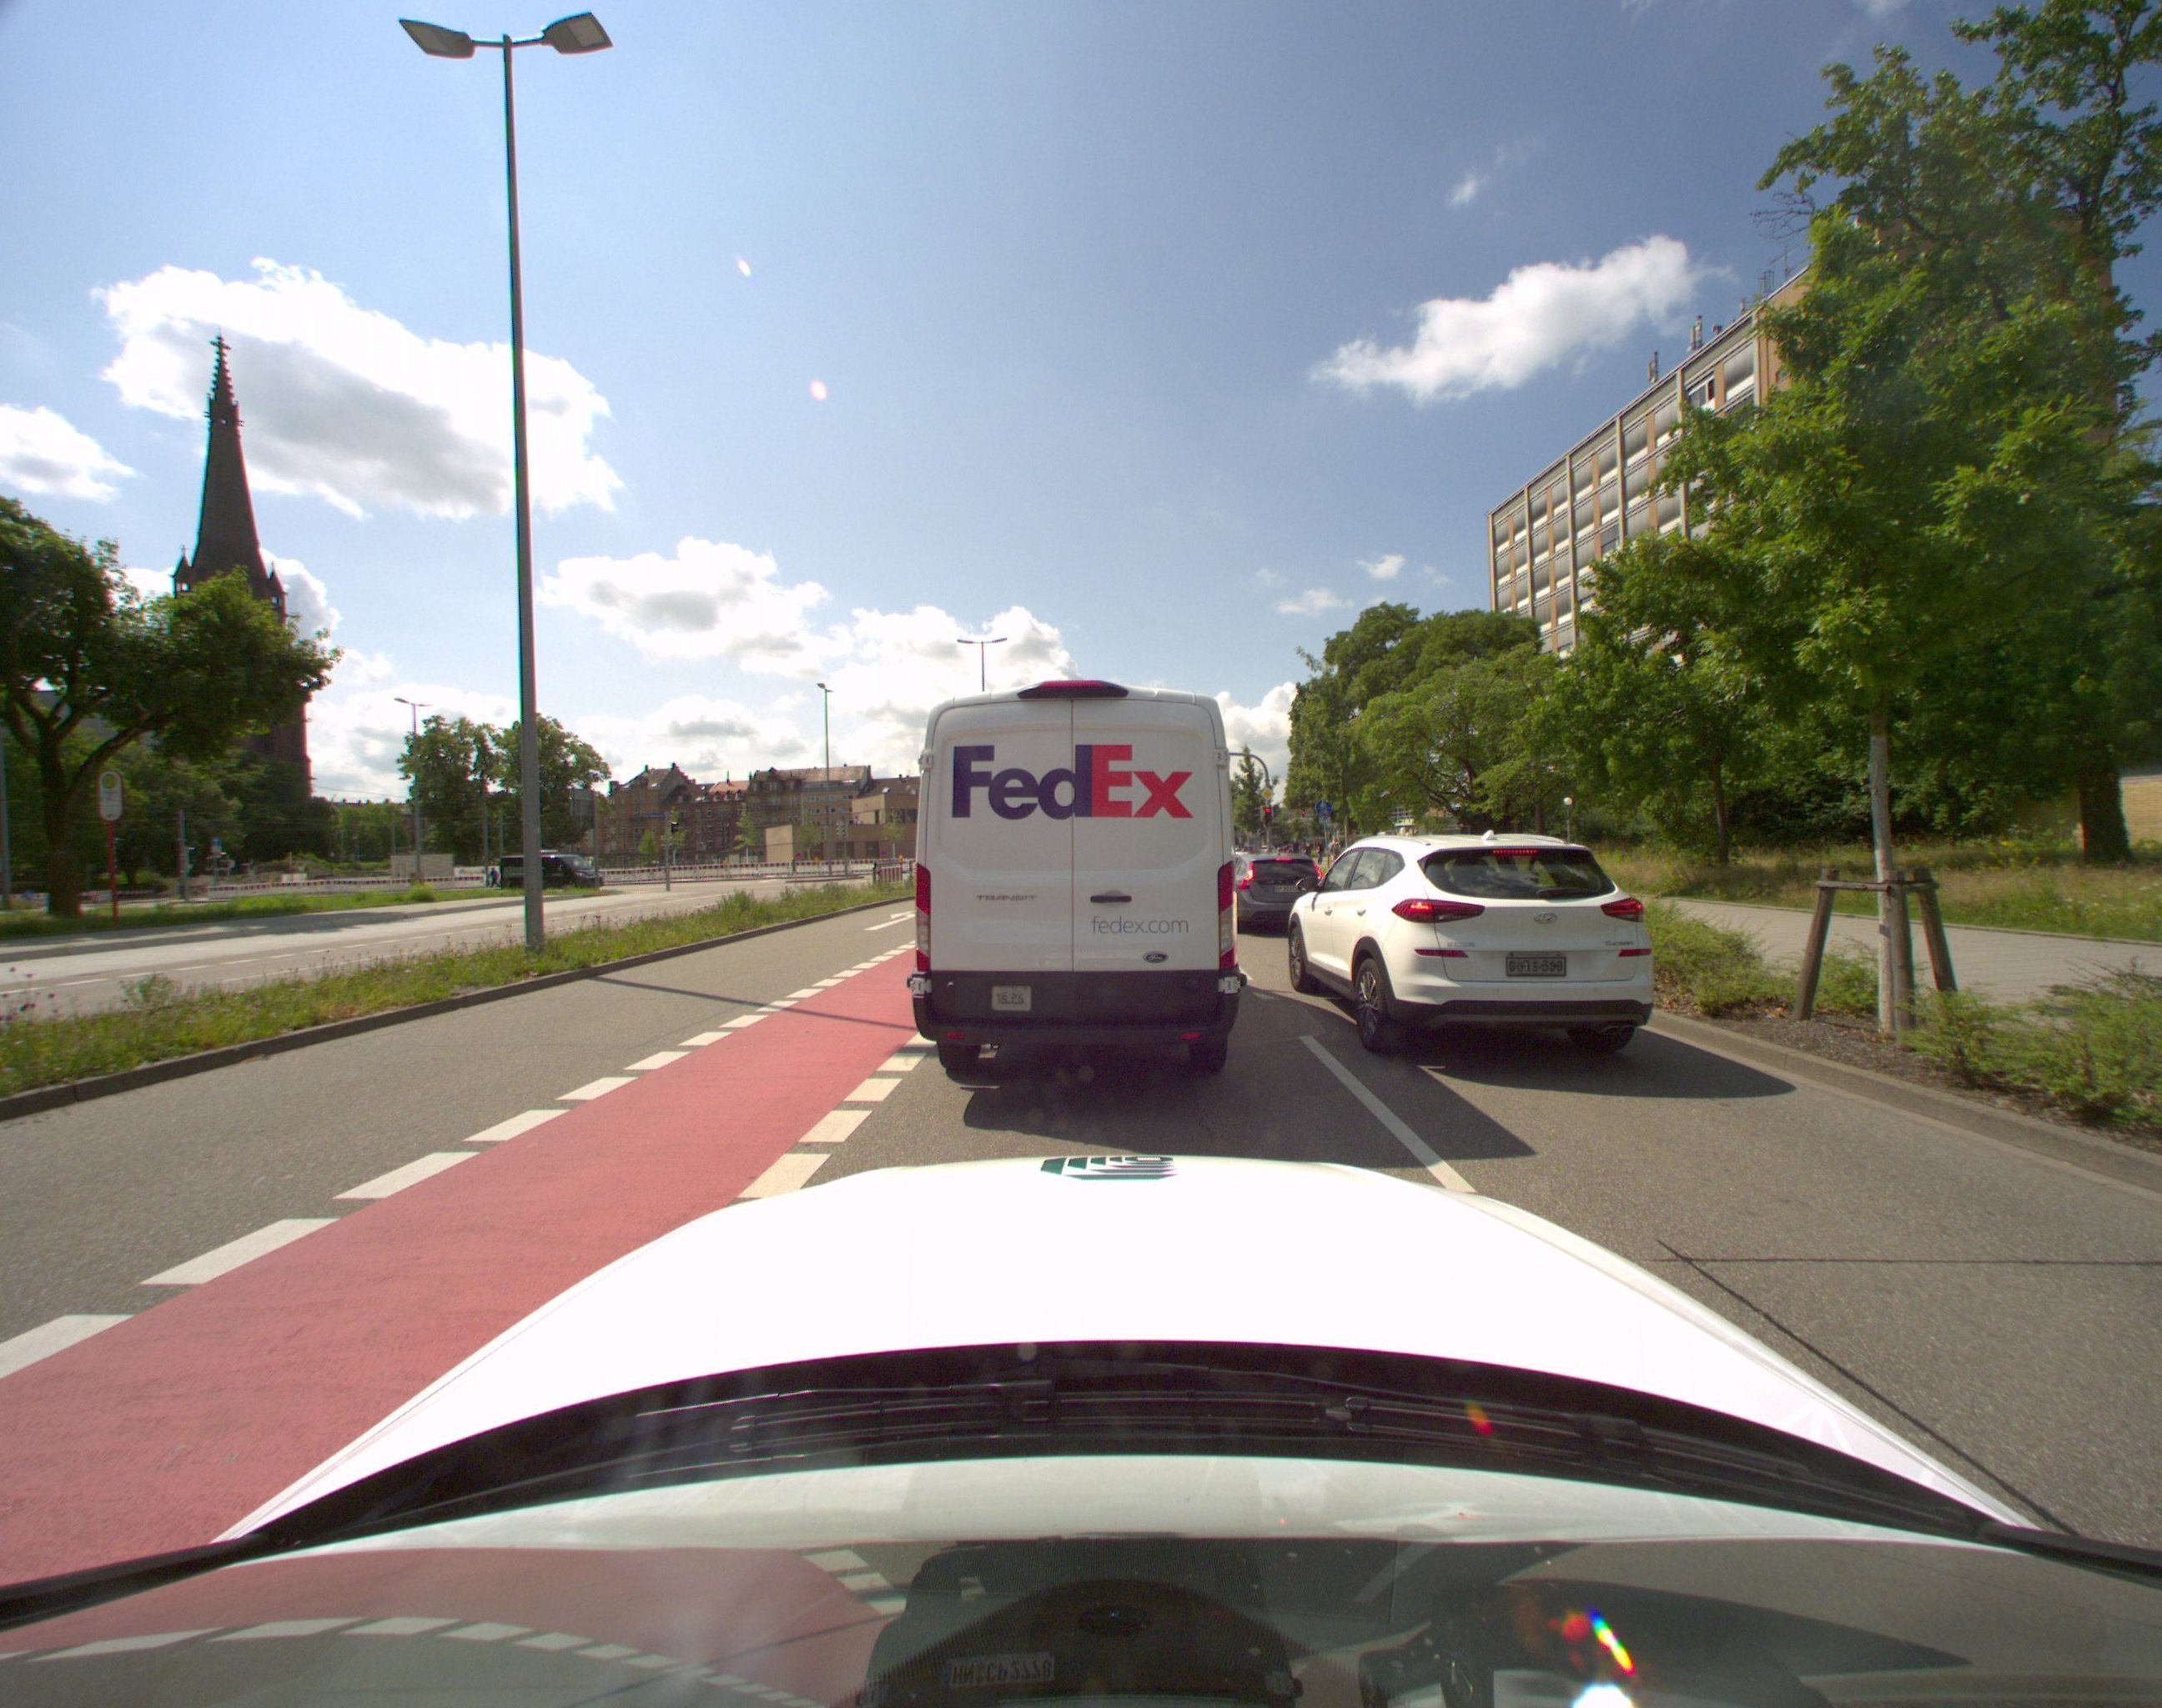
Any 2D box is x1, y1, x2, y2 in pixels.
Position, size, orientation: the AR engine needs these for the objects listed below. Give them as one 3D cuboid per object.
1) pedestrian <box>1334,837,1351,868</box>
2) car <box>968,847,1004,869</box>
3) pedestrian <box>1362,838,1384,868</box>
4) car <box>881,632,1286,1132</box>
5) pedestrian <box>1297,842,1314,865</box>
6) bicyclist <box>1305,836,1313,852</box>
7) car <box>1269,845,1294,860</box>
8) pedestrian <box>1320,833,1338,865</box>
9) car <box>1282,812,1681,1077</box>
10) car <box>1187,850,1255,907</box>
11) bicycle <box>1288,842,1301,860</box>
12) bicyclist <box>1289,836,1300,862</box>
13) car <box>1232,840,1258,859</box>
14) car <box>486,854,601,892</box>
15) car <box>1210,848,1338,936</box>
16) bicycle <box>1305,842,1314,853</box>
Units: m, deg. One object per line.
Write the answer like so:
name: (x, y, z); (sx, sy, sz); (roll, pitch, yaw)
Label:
pedestrian: (17.751, -0.105, 55.333); (0.842, 2.013, 0.741); (-2, 0, 1)
car: (-9.049, 0.370, 77.746); (1.978, 2.014, 4.017); (-2, 0, 16)
pedestrian: (15.497, -0.073, 43.255); (0.842, 1.539, 0.835); (-2, 0, 1)
car: (0.009, 0.142, 7.237); (2.134, 2.652, 5.703); (-1, 0, 0)
pedestrian: (13.830, -0.041, 50.190); (0.842, 1.389, 0.741); (-2, 0, 1)
bicyclist: (21.521, -0.935, 76.806); (0.547, 1.474, 0.973); (-2, 0, 7)
car: (25.455, -0.240, 103.242); (1.974, 1.794, 4.398); (-2, -1, 29)
pedestrian: (16.582, -0.340, 54.369); (0.847, 2.058, 0.737); (-2, 0, -16)
car: (3.083, 0.576, 7.290); (1.790, 1.687, 4.004); (-2, 0, 4)
car: (3.824, 0.627, 22.694); (1.478, 1.428, 3.436); (-2, 0, 4)
bicycle: (15.775, -0.208, 60.141); (0.597, 1.290, 2.082); (-2, 0, 22)
bicyclist: (15.737, -0.359, 60.019); (0.586, 1.844, 1.129); (-2, 1, 22)
car: (18.271, -0.521, 90.619); (2.076, 2.014, 4.666); (-2, 0, 19)
car: (-29.845, 1.036, 45.325); (4.995, 1.879, 1.928); (-2, 1, -2)
car: (3.621, 0.643, 15.929); (1.790, 1.461, 3.842); (-2, 0, 4)
bicycle: (21.511, -0.590, 76.732); (0.543, 1.030, 1.931); (-2, 0, 8)
